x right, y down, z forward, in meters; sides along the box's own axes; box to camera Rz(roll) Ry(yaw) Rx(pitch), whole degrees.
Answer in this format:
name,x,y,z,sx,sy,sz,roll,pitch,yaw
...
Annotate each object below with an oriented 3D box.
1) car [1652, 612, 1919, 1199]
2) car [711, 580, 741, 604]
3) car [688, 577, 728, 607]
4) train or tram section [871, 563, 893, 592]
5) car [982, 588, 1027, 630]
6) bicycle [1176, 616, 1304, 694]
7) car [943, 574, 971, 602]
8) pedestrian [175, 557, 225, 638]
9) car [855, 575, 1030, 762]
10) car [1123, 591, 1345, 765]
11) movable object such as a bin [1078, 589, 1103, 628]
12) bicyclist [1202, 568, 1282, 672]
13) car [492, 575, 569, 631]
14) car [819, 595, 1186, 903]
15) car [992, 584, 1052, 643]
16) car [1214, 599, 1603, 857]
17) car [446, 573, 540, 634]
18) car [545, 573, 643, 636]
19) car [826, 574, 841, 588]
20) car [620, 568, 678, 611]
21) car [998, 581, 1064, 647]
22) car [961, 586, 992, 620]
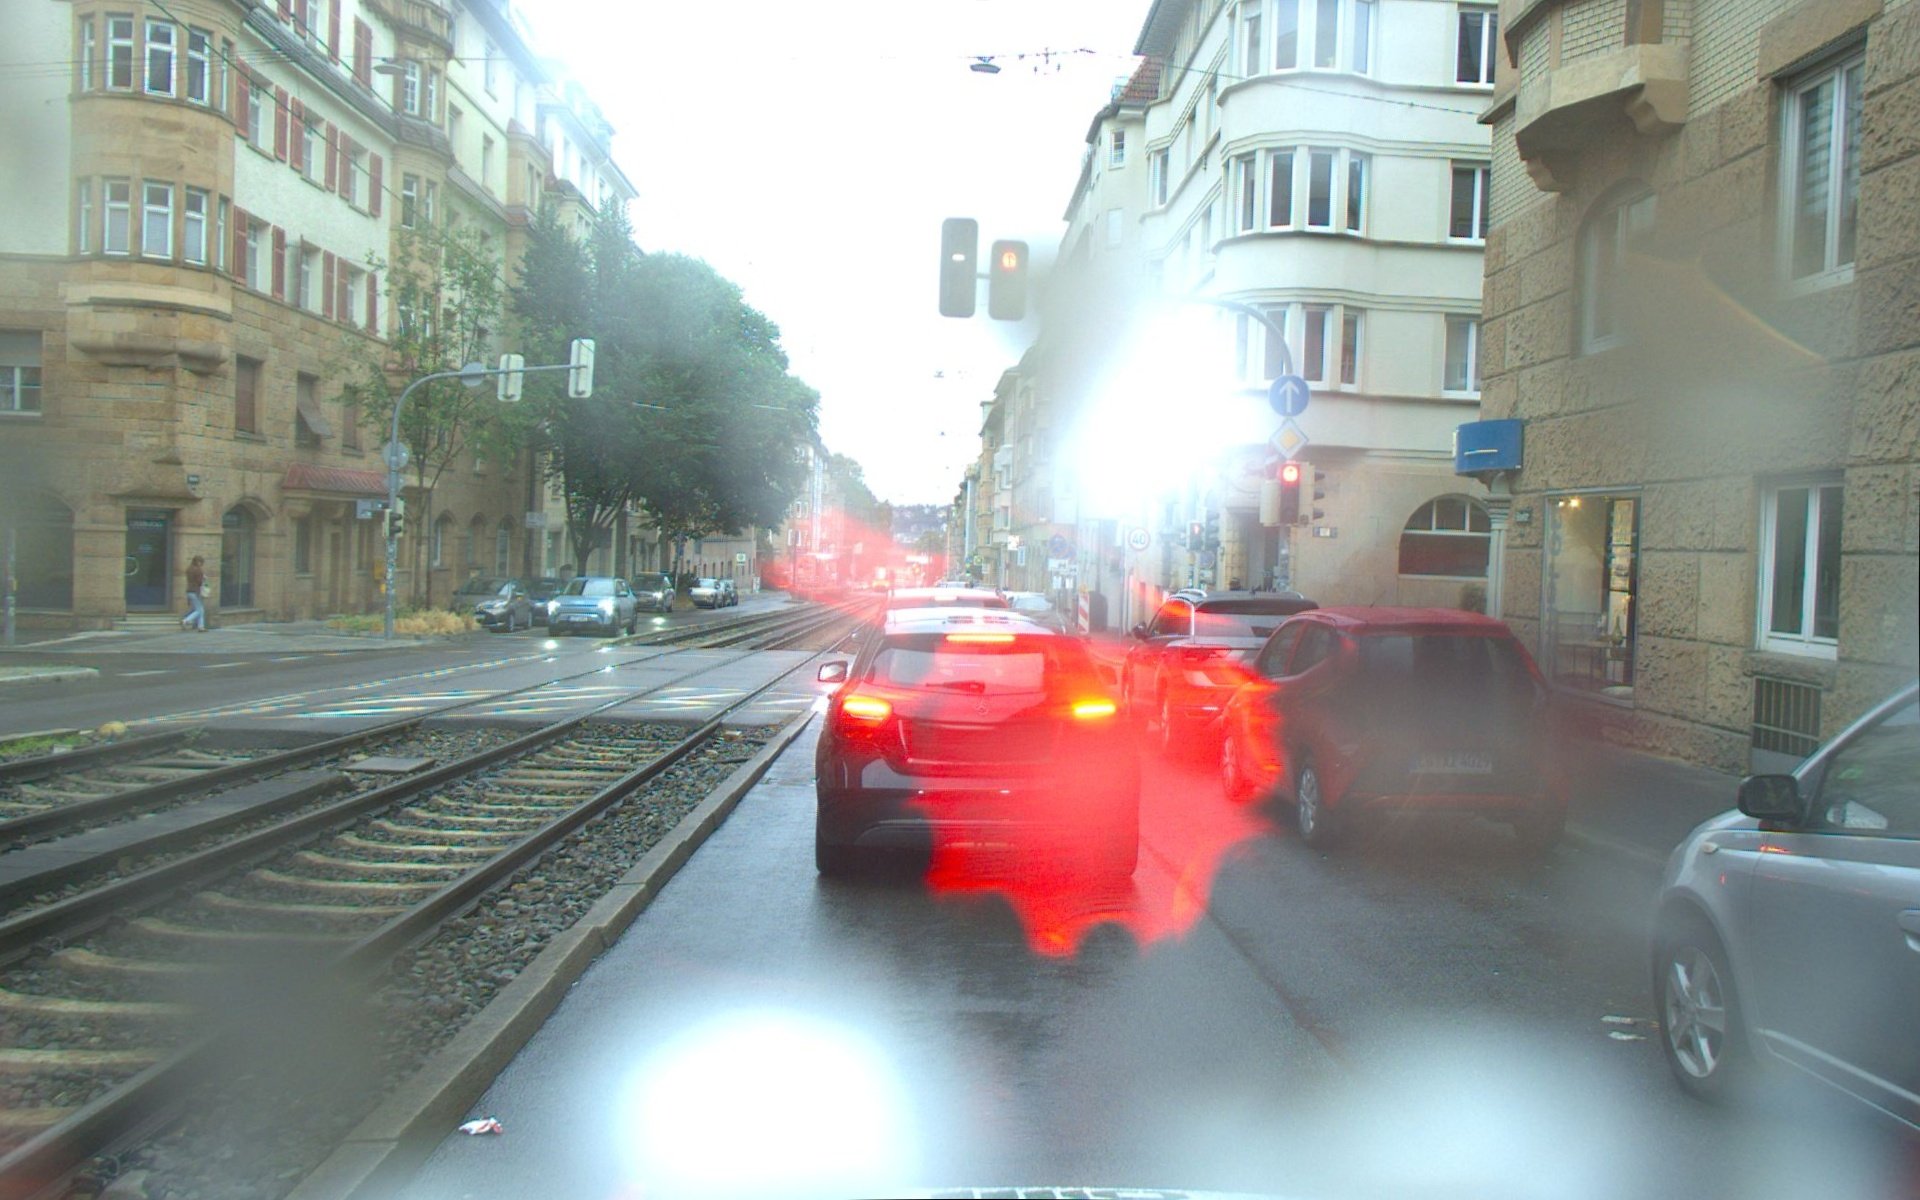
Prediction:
name,x,y,z,sx,sy,sz,roll,pitch,yaw
car,3.112,0.796,3.907,1.581,1.493,3.312,0,0,0
car,-14.022,-0.475,99.180,1.419,1.354,3.270,1,0,-3
car,-13.656,-0.416,89.775,1.557,1.608,3.917,1,0,-1
train or tram section,-11.059,-3.217,236.230,2.726,3.928,10.427,1,0,-1
car,1.660,0.319,62.355,1.513,1.512,3.547,1,0,-1
bicycle,4.507,0.876,26.690,1.987,1.207,0.827,1,-1,8
car,-0.240,-0.826,117.478,1.953,1.909,3.999,1,0,-1
pedestrian,-16.216,-0.059,35.302,0.619,1.702,0.702,1,-1,26
car,-0.186,0.618,16.641,1.533,1.637,3.813,1,0,-1
car,2.621,0.682,16.602,1.513,1.512,3.829,1,0,-1
movable object such as a bin,4.760,0.301,60.449,0.859,1.413,0.983,1,-1,3
bicyclist,4.535,0.319,26.691,1.223,1.625,0.888,1,-1,8
car,-13.281,0.084,51.331,1.683,1.639,3.914,1,0,-5
car,0.180,0.735,10.258,1.792,1.483,4.103,1,0,-1
car,1.763,0.374,47.946,1.513,1.618,3.547,1,0,-1
car,2.895,0.755,11.367,1.609,1.473,3.297,1,0,-3
car,-13.018,0.104,46.304,1.718,1.579,4.032,1,0,-4
car,-10.053,0.125,45.735,1.860,1.615,3.972,1,0,-1
car,-12.360,-1.819,161.905,1.349,1.271,3.296,1,0,-2
car,-13.563,-0.442,72.313,1.837,1.767,3.917,1,0,-1
car,1.833,0.348,43.473,1.513,1.618,3.547,1,0,-1
car,0.722,0.122,74.413,1.268,1.467,2.928,1,0,-1
